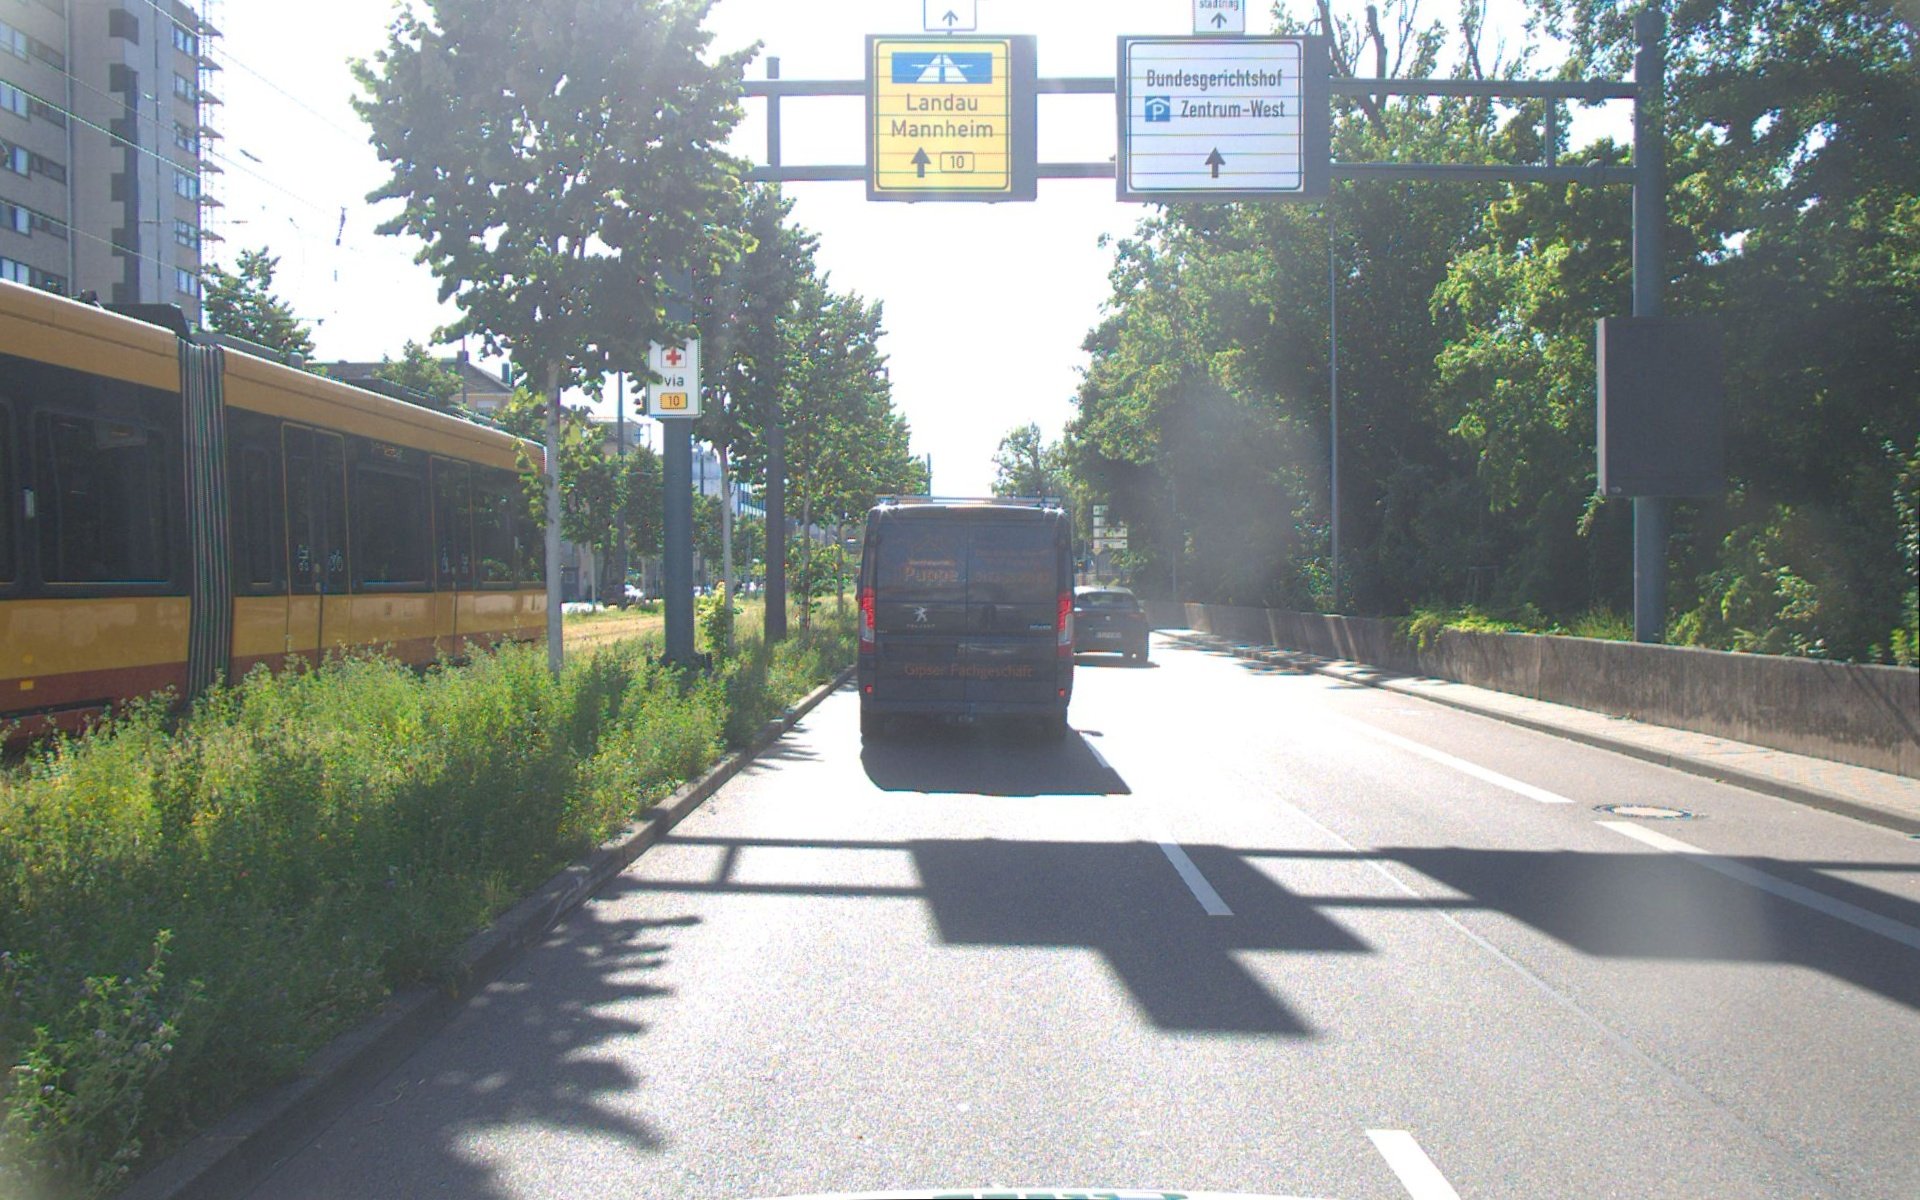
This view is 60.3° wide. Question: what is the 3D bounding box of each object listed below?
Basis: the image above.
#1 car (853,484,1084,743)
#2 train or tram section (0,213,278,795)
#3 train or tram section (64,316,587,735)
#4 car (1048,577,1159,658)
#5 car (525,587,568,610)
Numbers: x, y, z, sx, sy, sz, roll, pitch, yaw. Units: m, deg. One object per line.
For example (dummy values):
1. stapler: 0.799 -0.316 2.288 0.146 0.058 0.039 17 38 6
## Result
1. car: 0.055 0.101 16.750 2.040 2.288 4.000 1 0 -1
2. train or tram section: -7.132 -0.607 9.228 1.953 3.733 11.316 1 1 0
3. train or tram section: -7.012 -0.723 20.685 1.952 3.733 11.684 1 1 0
4. car: 2.806 0.308 33.011 1.728 1.488 3.999 1 1 -2
5. car: -28.851 -0.114 115.513 1.952 1.579 4.001 1 0 1
